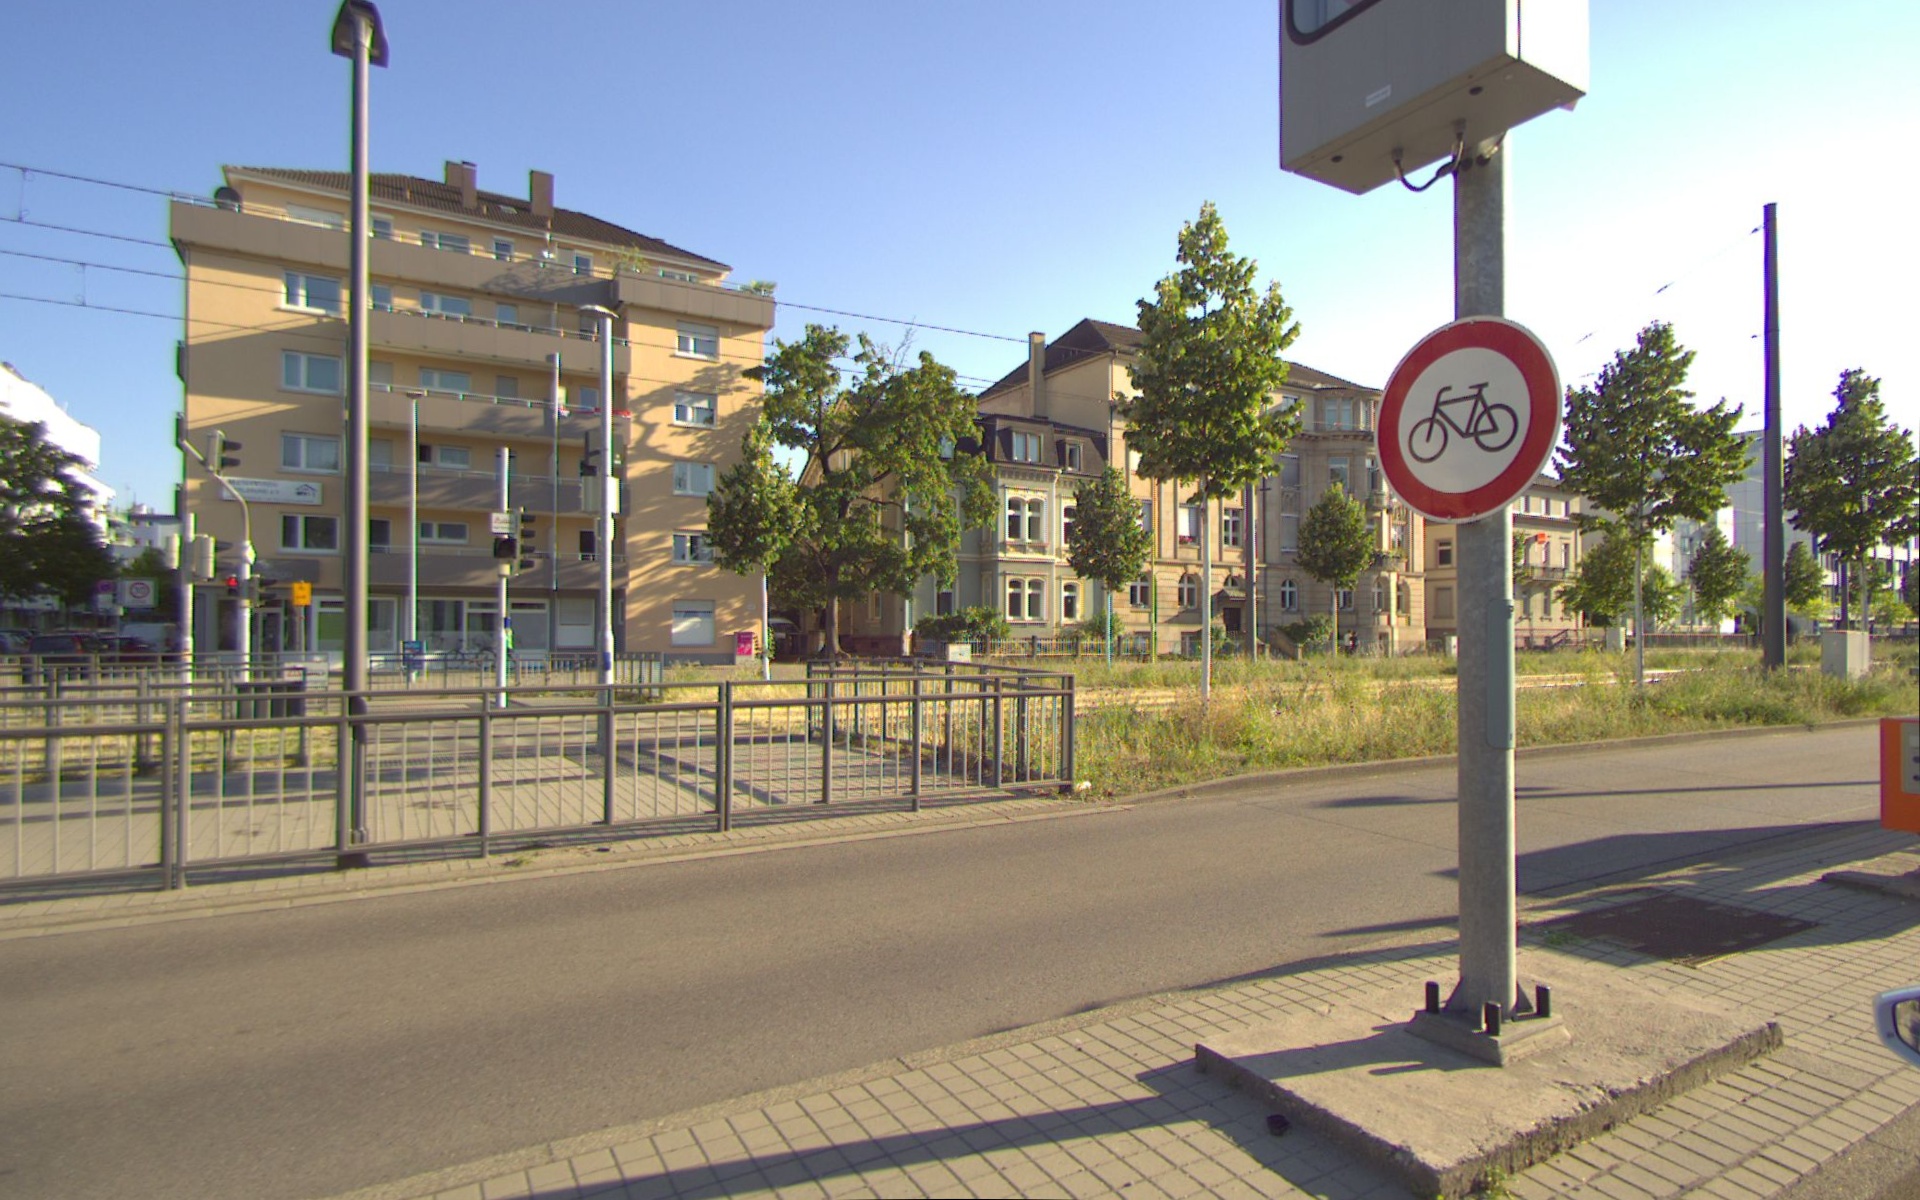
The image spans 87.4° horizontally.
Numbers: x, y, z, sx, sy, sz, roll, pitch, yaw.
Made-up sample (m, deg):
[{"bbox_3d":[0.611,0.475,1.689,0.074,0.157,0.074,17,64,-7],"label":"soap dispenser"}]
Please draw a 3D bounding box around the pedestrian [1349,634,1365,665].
[{"bbox_3d":[22.129,2.749,56.046,0.646,1.743,0.552,1,-1,-32],"label":"pedestrian"}]

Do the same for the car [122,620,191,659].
[{"bbox_3d":[-38.410,1.864,48.133,1.977,1.766,3.968,1,-2,-30],"label":"car"}]

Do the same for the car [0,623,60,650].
[{"bbox_3d":[-55.825,2.138,59.032,3.953,1.533,1.984,1,-2,-30],"label":"car"}]

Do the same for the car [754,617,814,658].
[{"bbox_3d":[-9.330,1.974,53.130,1.976,2.073,3.970,1,-2,-29],"label":"car"}]

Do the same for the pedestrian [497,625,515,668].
[{"bbox_3d":[-16.582,1.687,36.697,0.515,1.576,0.444,1,-1,-32],"label":"pedestrian"}]

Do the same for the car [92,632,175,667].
[{"bbox_3d":[-33.758,1.996,41.126,1.977,1.321,3.968,1,-2,-30],"label":"car"}]

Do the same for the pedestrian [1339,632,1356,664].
[{"bbox_3d":[21.841,2.705,56.648,0.646,1.743,0.652,1,-1,-32],"label":"pedestrian"}]

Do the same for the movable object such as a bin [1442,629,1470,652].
[{"bbox_3d":[31.567,2.570,63.959,1.068,1.448,1.199,1,-2,-31],"label":"movable object such as a bin"}]

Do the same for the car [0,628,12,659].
[{"bbox_3d":[-50.565,2.174,50.405,3.953,1.533,1.984,1,-2,-30],"label":"car"}]

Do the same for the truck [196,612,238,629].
[{"bbox_3d":[-101.775,2.815,137.648,4.571,2.197,1.805,1,-1,-34],"label":"truck"}]

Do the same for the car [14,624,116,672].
[{"bbox_3d":[-30.036,1.575,33.832,1.826,1.516,3.967,1,-2,-31],"label":"car"}]

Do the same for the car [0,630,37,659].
[{"bbox_3d":[-53.178,2.423,54.672,3.953,1.533,1.984,1,-2,-30],"label":"car"}]
